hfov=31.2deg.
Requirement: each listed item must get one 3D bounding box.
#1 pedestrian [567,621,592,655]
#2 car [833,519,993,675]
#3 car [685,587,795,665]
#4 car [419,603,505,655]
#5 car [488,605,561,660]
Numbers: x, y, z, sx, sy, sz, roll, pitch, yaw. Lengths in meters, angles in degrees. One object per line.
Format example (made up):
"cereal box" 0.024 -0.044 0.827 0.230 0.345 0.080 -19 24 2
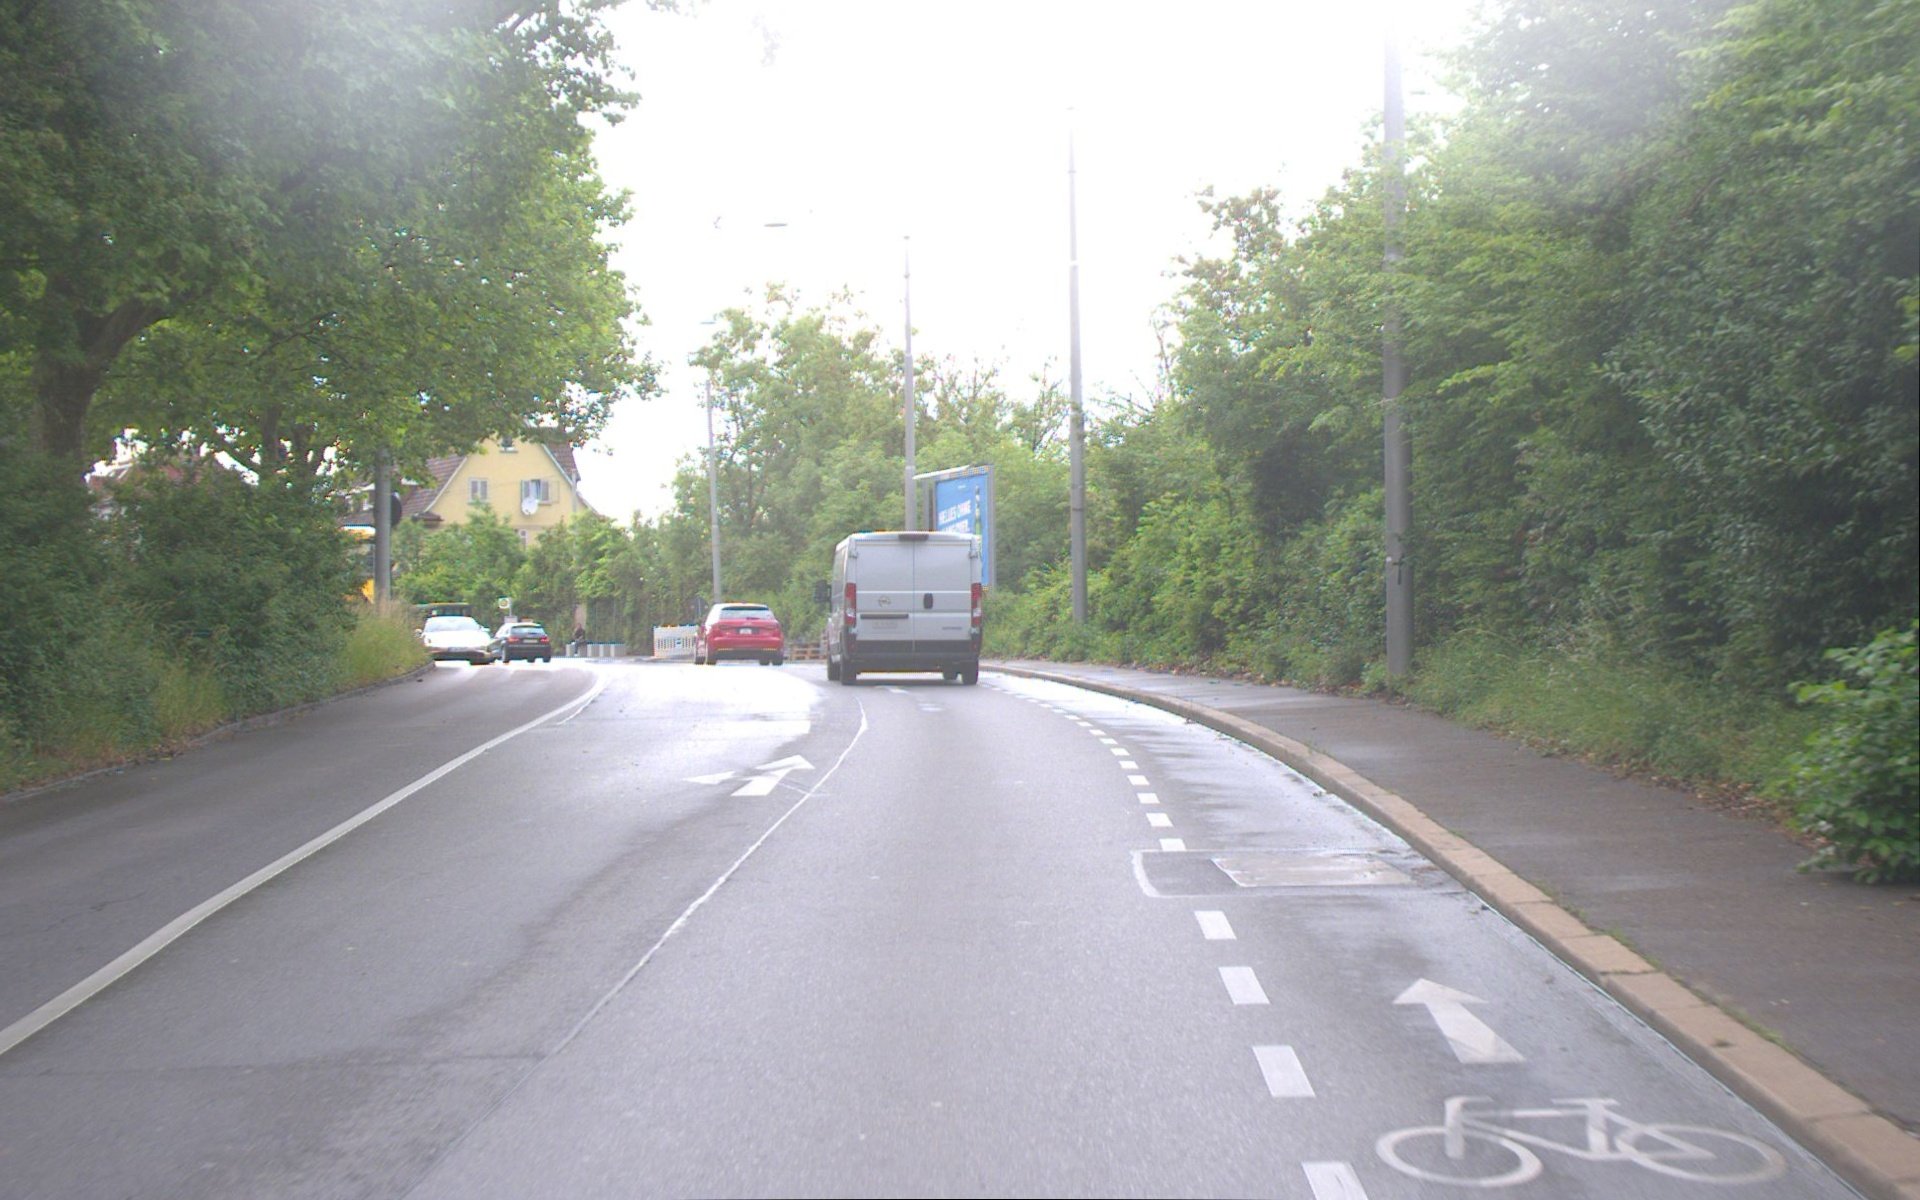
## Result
"pedestrian" -15.710 1.583 141.993 0.878 1.363 1.066 1 0 -13
"car" -0.757 -0.070 51.827 2.237 2.205 4.714 1 1 -2
"car" -5.087 0.565 79.034 2.237 1.651 4.714 1 1 -7
"car" -14.251 0.816 98.184 2.070 1.348 4.715 1 1 -12
"car" -15.574 1.143 122.790 2.237 1.798 4.715 1 1 -11
